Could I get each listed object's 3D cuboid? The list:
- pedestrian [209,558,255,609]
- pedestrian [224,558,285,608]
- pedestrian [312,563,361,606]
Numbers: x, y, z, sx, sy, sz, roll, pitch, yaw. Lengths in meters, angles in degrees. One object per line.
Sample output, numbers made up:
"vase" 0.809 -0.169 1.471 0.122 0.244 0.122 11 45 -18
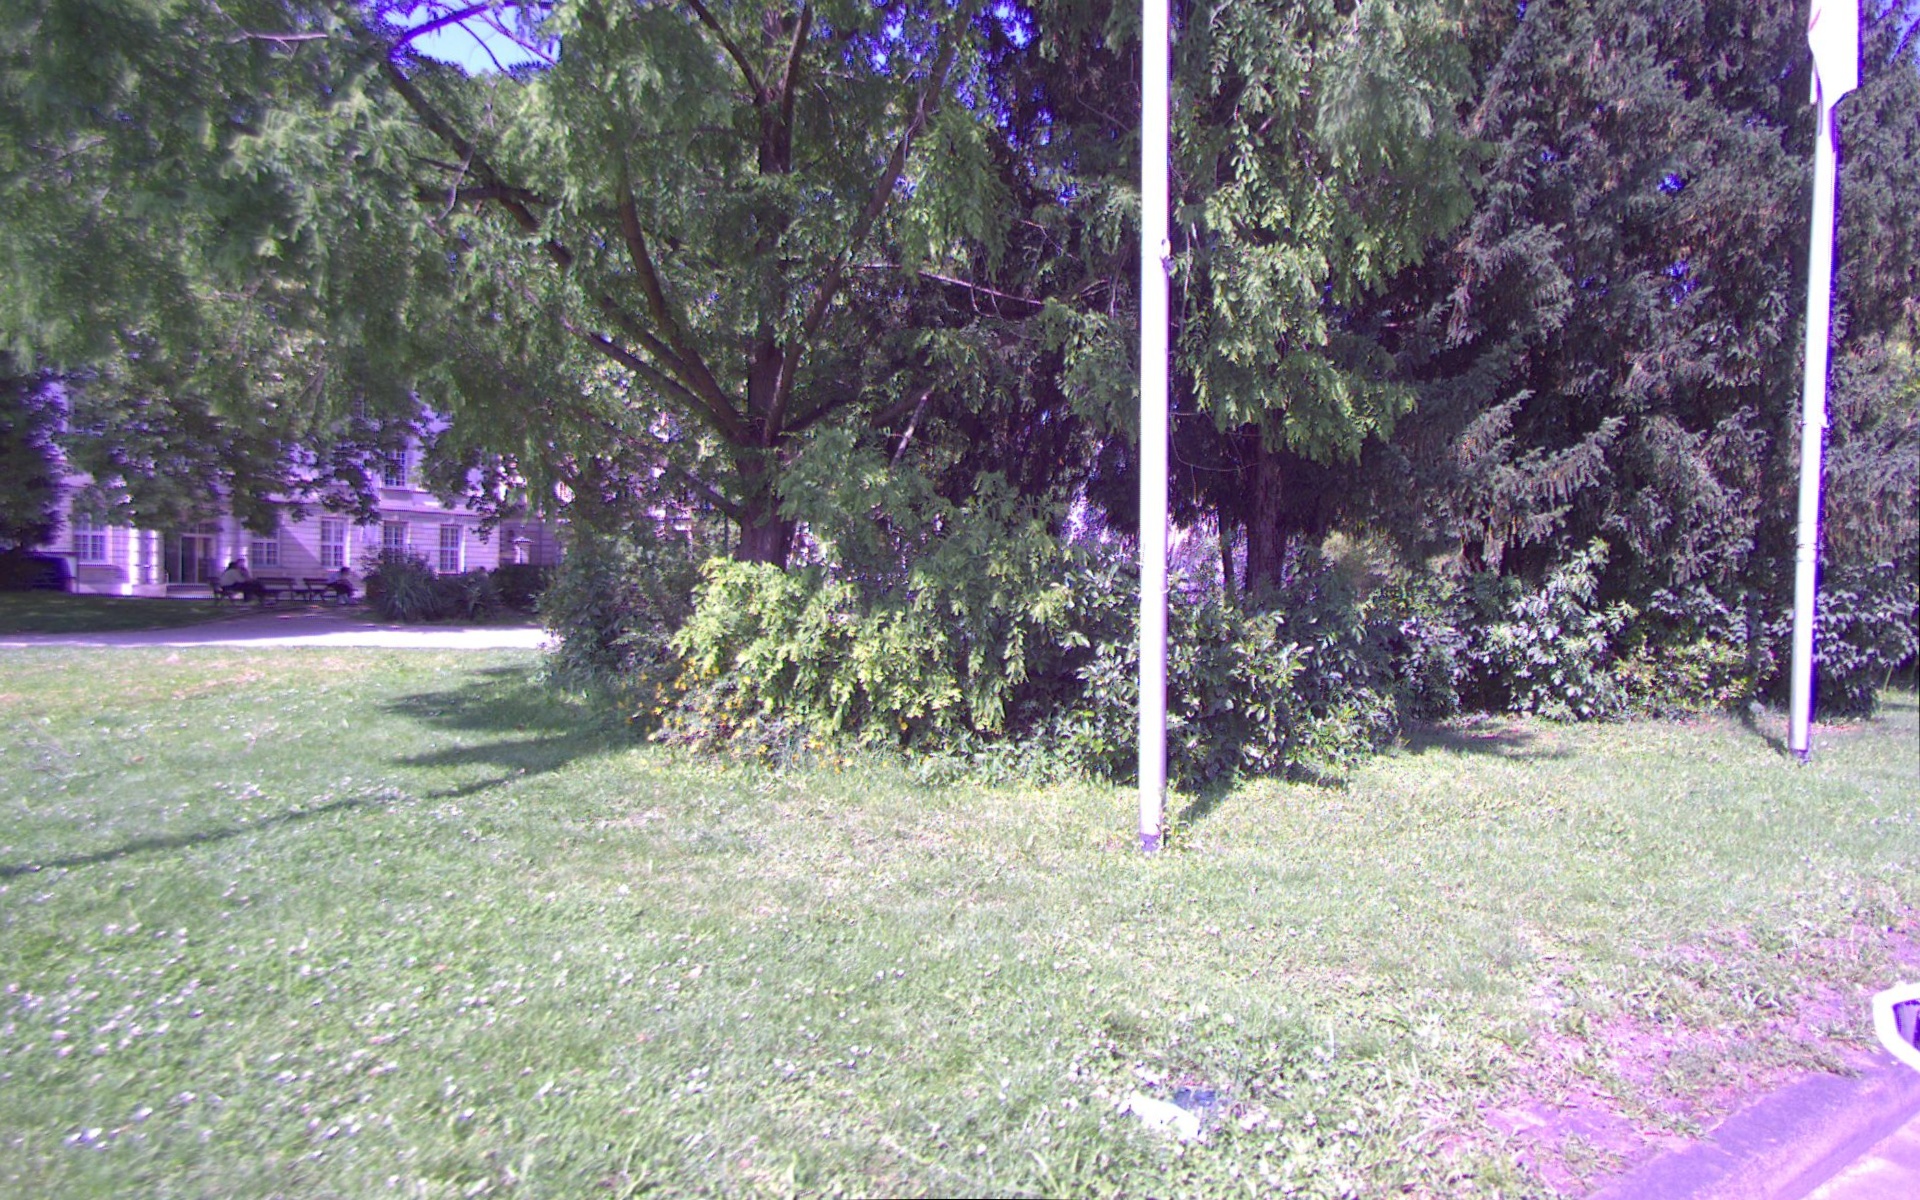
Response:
"pedestrian" -18.148 -0.412 25.052 0.659 1.242 0.754 2 1 -13
"pedestrian" -18.099 -0.430 25.794 1.040 1.242 0.754 2 1 -13
"pedestrian" -18.980 -0.478 30.599 1.040 1.242 0.754 2 1 -13
